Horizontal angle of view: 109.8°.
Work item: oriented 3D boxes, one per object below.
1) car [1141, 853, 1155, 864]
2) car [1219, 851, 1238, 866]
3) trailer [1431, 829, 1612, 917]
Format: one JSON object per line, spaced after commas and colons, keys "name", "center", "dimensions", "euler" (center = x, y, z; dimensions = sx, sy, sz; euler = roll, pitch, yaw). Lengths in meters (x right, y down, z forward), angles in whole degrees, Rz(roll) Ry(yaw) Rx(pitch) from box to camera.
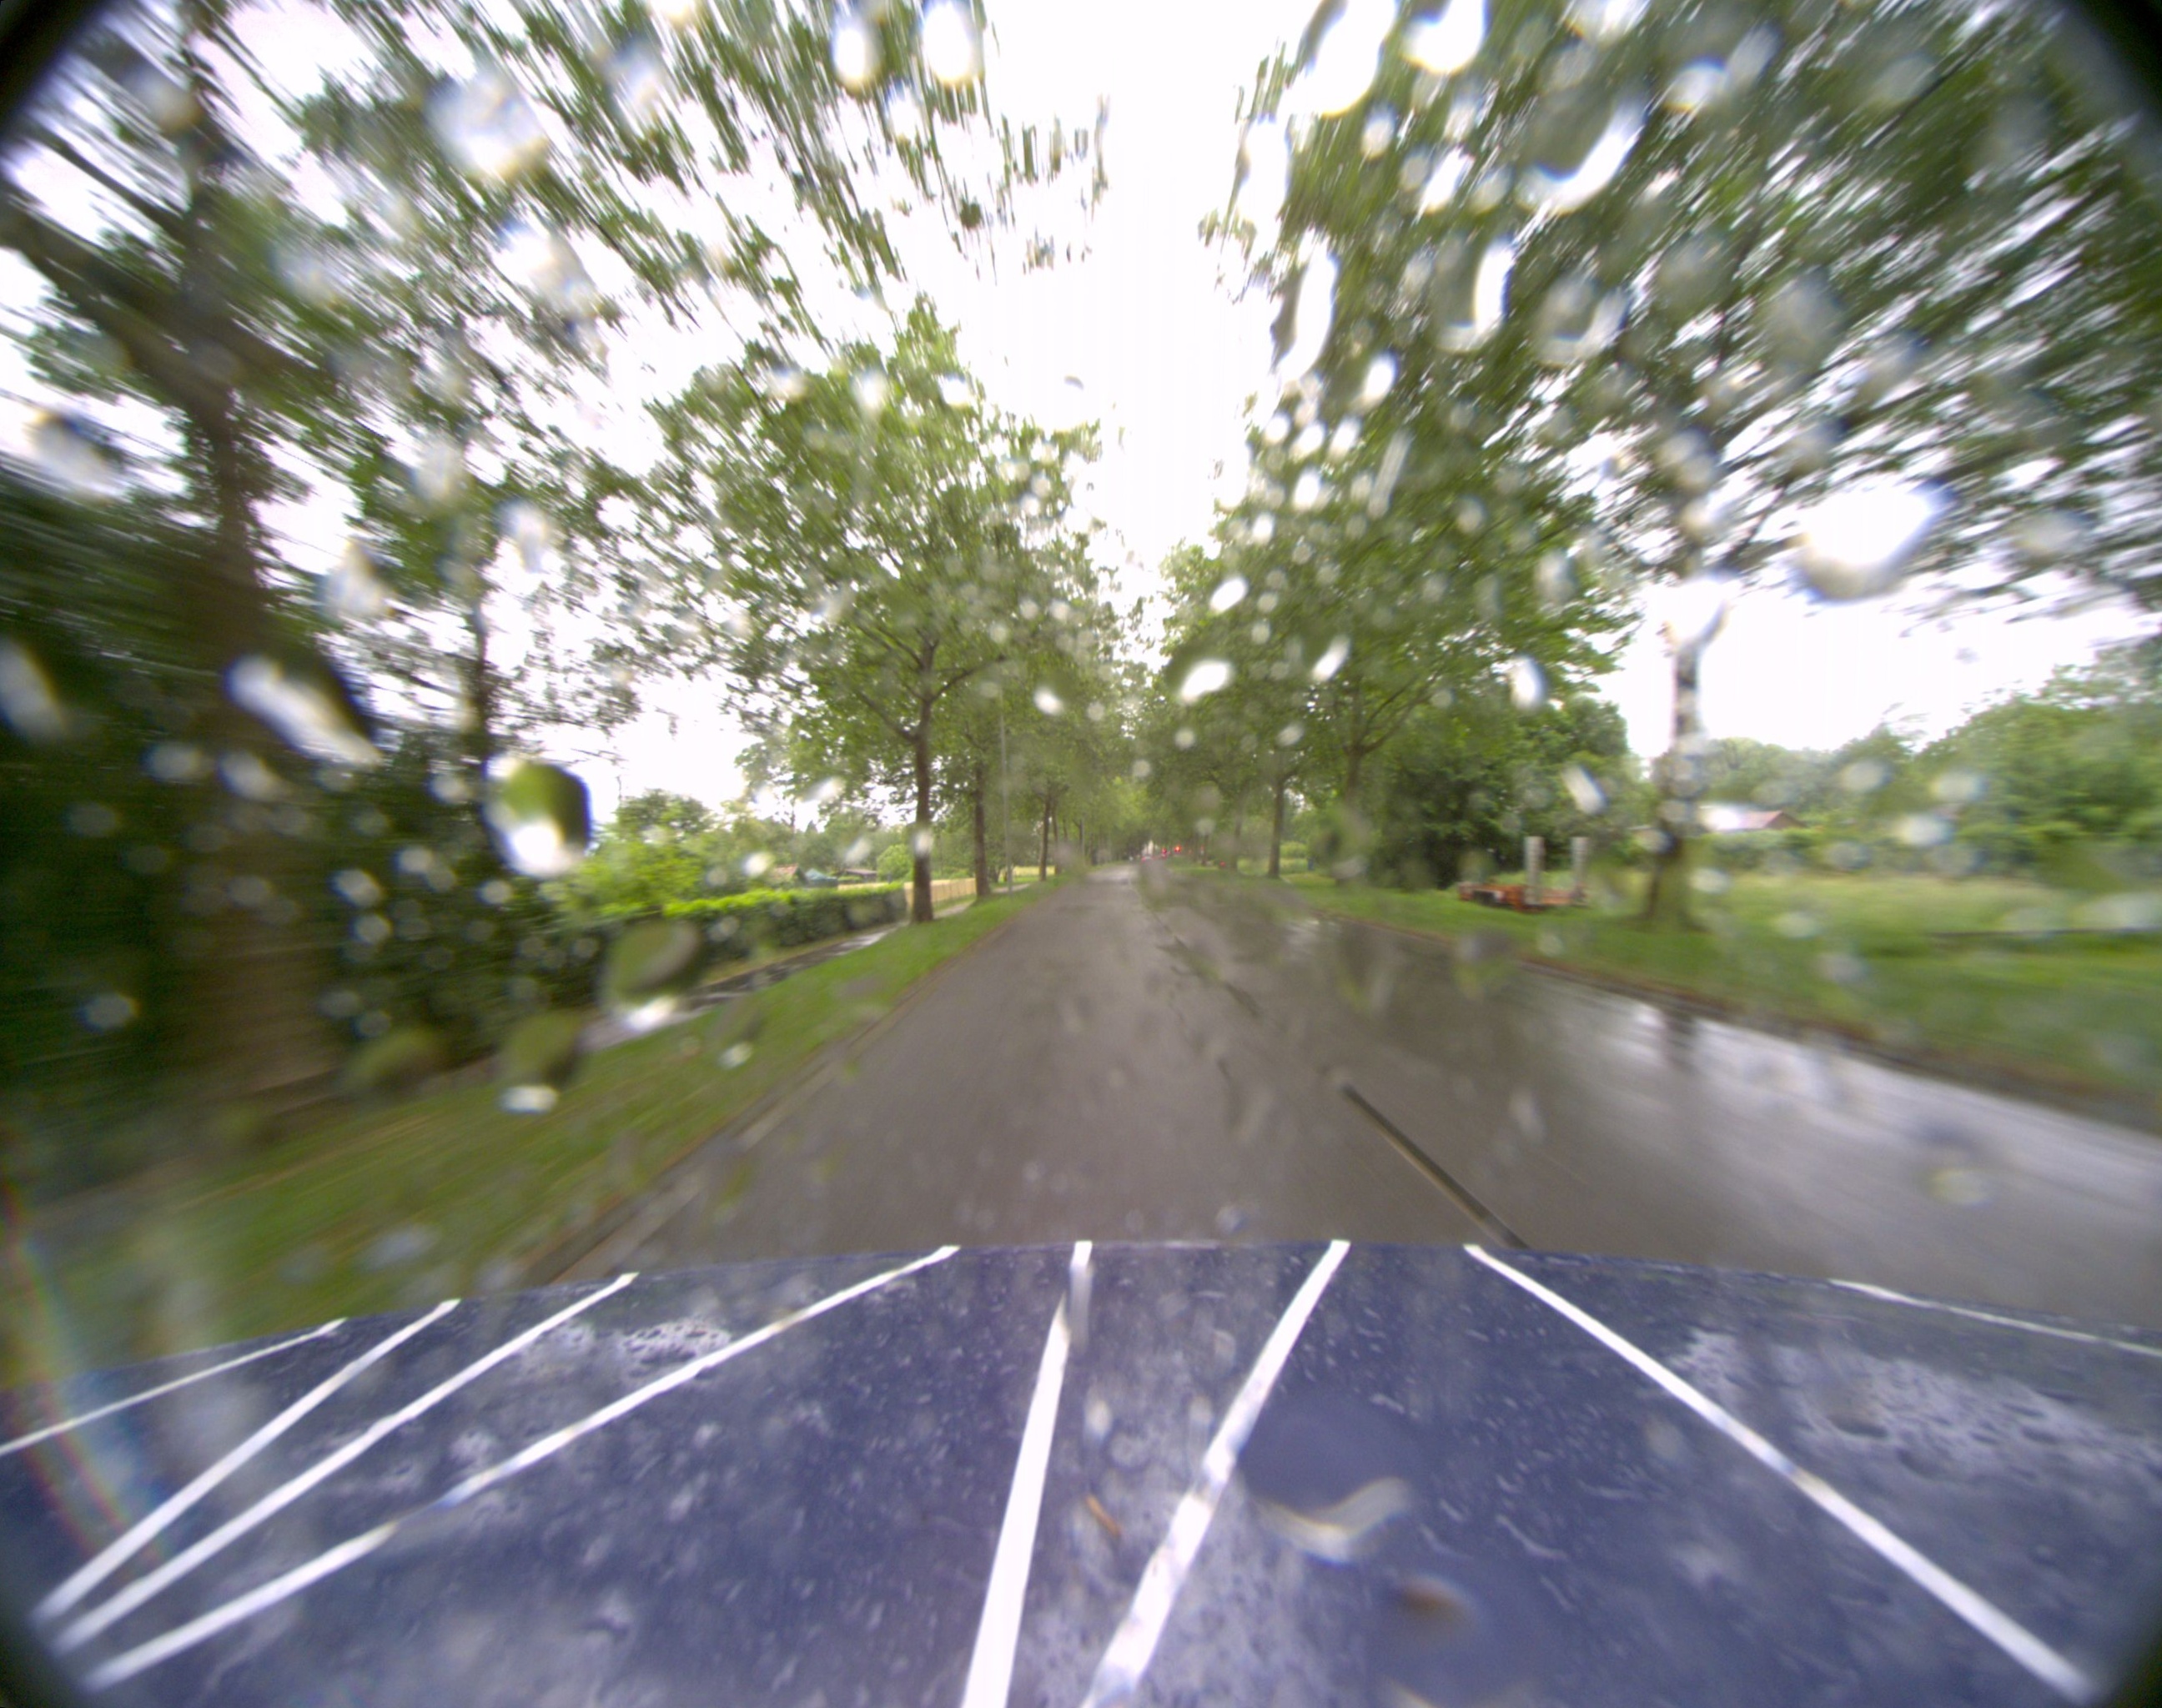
{"name": "car", "center": [9.019, 0.567, 102.655], "dimensions": [1.593, 1.444, 3.373], "euler": [-2, 0, 1]}
{"name": "car", "center": [17.919, 0.476, 92.172], "dimensions": [1.896, 1.672, 4.004], "euler": [-2, 0, 16]}
{"name": "trailer", "center": [15.295, 0.576, 27.074], "dimensions": [2.804, 2.648, 6.653], "euler": [-2, 0, 3]}
